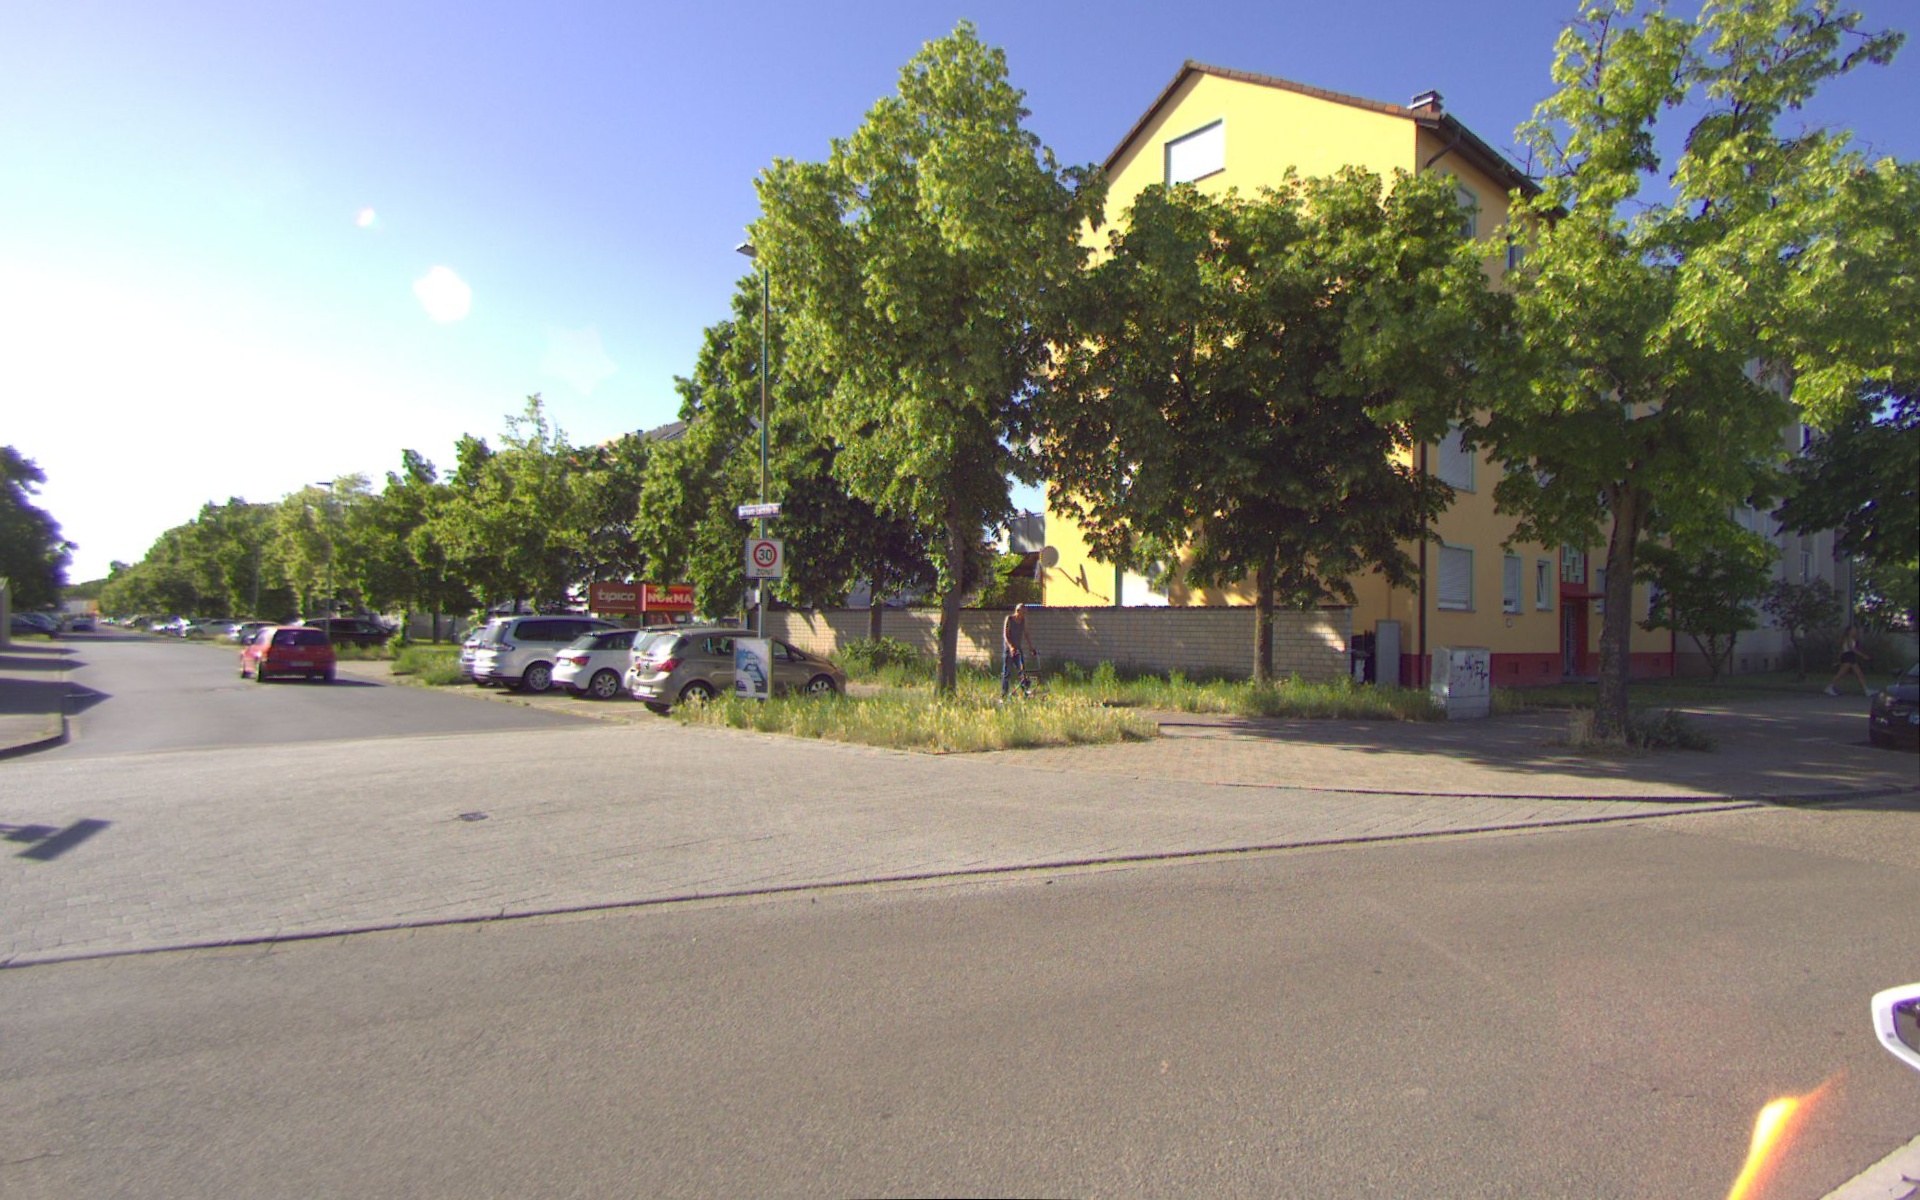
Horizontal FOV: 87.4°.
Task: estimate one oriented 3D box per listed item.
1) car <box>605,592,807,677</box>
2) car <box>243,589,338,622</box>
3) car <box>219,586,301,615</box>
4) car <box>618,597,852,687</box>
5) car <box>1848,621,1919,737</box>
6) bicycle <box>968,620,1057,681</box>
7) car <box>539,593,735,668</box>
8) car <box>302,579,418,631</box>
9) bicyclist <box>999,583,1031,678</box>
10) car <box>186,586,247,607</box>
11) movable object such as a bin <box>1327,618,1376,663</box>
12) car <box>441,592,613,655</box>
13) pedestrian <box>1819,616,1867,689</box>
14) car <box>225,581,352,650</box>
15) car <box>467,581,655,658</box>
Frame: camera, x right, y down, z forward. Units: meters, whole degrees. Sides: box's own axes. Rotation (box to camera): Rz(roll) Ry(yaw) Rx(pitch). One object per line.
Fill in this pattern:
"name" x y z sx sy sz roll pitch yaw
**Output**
"car" -5.339 0.694 21.417 1.680 1.643 3.857 1 0 44
"car" -35.899 0.316 53.927 1.632 1.641 3.976 0 -2 44
"car" -43.196 0.045 62.031 3.972 1.641 1.634 2 -3 -43
"car" -4.038 0.718 18.406 3.853 1.483 1.712 1 -1 -43
"car" 14.514 1.193 14.354 4.010 1.499 1.690 4 0 -33
"bicycle" 0.951 0.910 18.421 1.593 1.024 0.406 1 0 29
"car" -7.148 0.614 22.466 1.680 1.484 3.857 1 1 44
"car" -24.549 0.226 41.232 3.954 1.951 1.832 3 -2 -31
"bicyclist" 1.008 0.566 18.411 0.382 1.707 0.382 2 -2 29
"car" -61.986 -0.266 83.768 3.972 1.641 1.634 2 -3 -43
"movable object such as a bin" 8.291 0.854 21.272 0.739 0.923 0.691 1 -1 -38
"car" -11.221 0.599 26.192 3.852 1.525 1.488 1 -1 -42
"pedestrian" 21.602 1.274 24.583 0.712 1.740 0.682 4 -2 -30
"car" -18.069 0.390 26.946 2.006 1.589 4.334 5 -2 -44
"car" -9.517 0.464 24.102 3.852 1.702 1.682 1 -1 -42
